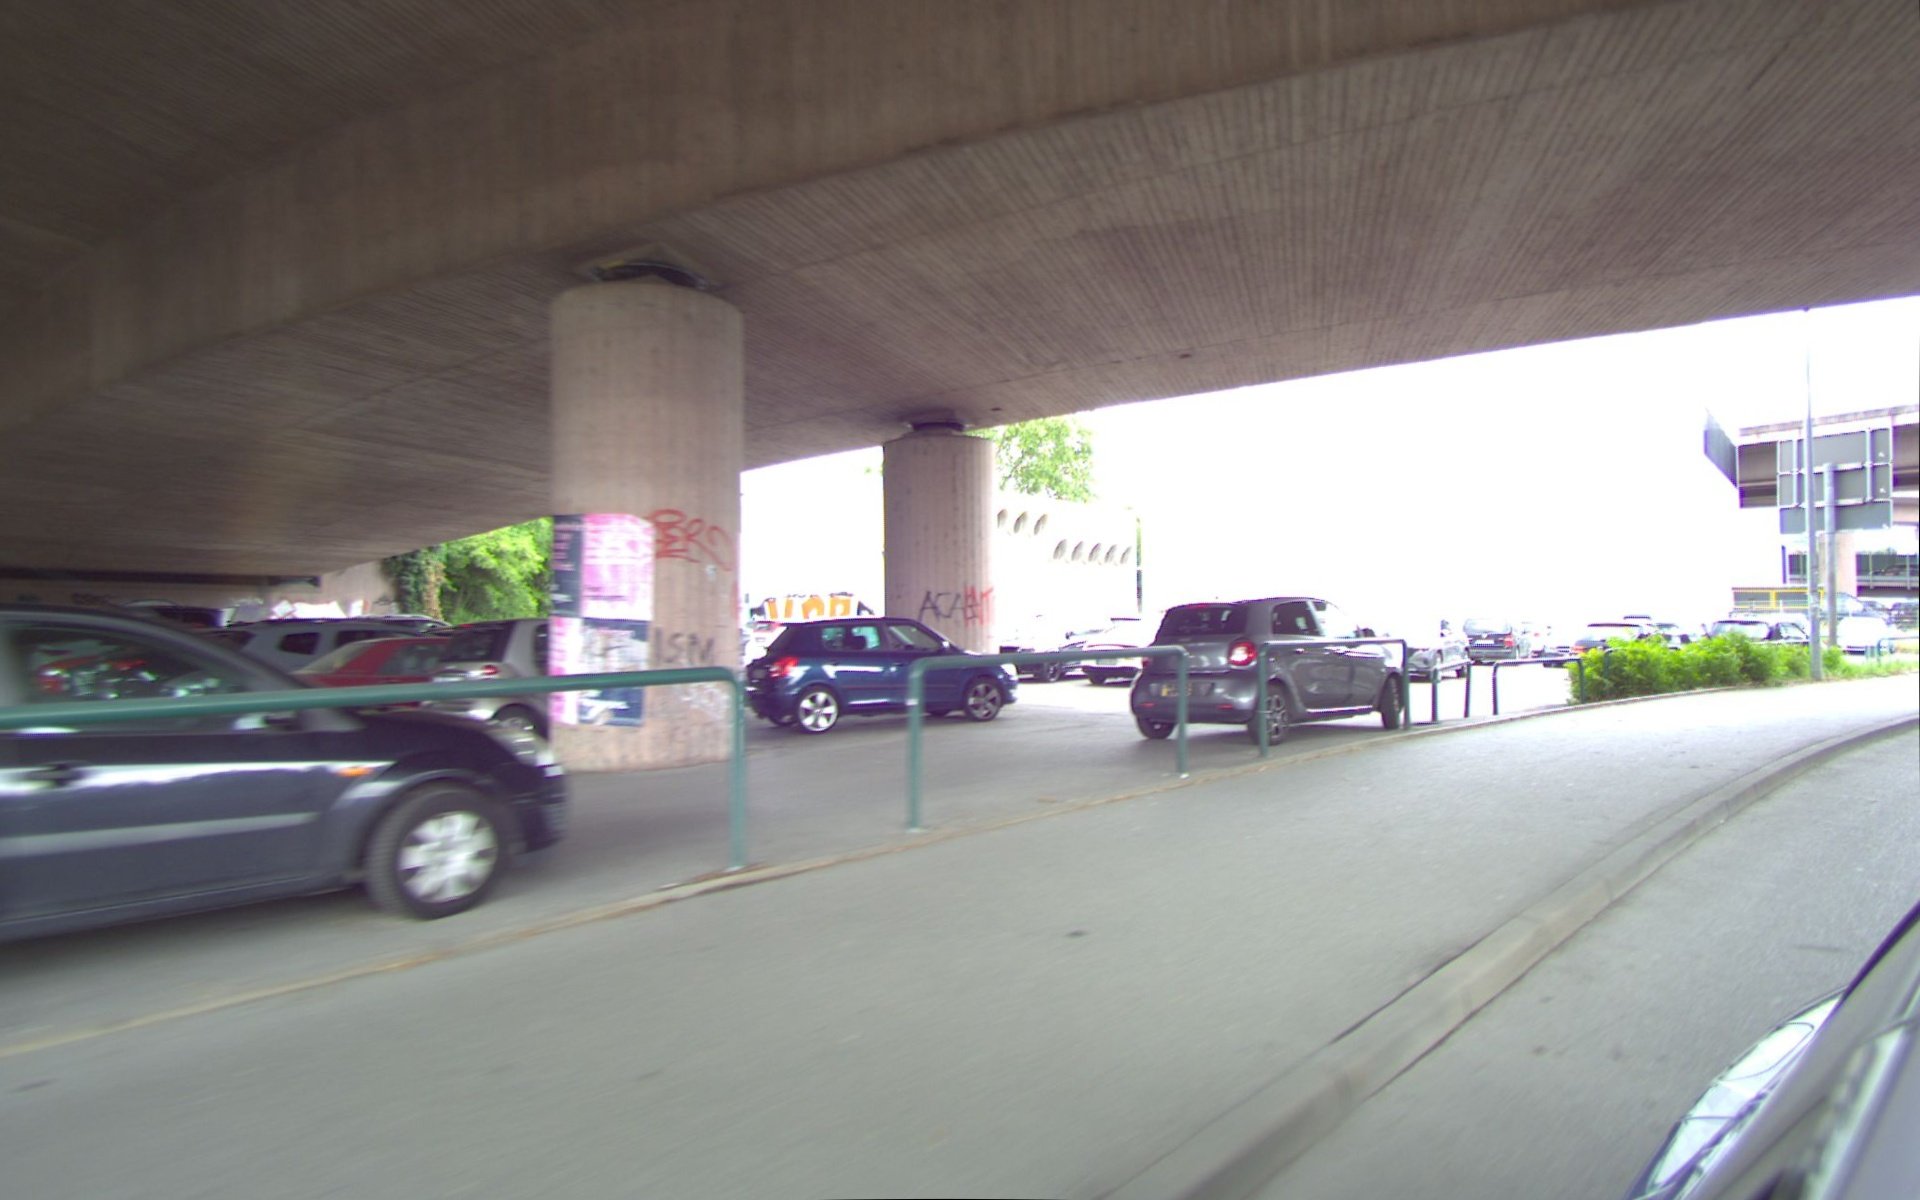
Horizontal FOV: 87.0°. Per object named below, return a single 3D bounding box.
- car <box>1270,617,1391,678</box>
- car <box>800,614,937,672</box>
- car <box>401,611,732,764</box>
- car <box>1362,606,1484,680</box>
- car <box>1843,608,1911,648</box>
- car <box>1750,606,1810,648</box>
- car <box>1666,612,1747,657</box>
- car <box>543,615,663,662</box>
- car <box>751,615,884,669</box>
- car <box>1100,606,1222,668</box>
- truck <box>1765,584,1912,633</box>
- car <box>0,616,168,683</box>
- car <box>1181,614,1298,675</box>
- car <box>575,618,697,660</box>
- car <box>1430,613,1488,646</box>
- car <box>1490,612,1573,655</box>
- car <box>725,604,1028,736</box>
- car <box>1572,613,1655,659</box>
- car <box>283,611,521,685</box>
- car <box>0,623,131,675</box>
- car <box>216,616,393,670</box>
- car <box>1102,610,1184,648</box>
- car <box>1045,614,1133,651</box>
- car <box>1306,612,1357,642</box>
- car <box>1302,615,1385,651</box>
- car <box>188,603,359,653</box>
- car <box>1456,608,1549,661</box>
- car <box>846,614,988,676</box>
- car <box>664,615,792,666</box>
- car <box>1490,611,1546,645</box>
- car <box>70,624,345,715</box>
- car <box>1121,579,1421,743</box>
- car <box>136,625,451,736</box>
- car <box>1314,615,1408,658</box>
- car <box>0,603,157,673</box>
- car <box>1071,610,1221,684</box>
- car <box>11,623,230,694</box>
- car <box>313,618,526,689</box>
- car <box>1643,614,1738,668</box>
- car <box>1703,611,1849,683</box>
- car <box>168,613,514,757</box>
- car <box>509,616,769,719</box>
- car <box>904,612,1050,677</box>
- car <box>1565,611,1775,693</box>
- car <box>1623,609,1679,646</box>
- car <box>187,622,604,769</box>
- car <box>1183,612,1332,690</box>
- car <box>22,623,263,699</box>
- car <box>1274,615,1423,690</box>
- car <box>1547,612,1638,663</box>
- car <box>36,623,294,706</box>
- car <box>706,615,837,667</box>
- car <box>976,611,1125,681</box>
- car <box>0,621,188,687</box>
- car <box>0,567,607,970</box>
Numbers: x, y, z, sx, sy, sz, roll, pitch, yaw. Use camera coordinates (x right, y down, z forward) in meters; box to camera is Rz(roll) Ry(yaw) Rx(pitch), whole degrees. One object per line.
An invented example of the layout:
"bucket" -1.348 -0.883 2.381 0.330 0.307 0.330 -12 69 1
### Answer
"car" 10.119 1.218 27.464 1.748 1.467 4.395 -1 -1 39
"car" -2.717 1.261 30.861 1.829 1.613 4.132 -1 -1 39
"car" -4.523 0.928 11.951 1.522 1.519 3.326 -4 -3 39
"car" 11.749 1.018 25.554 1.737 1.696 4.406 -1 -1 39
"car" 36.378 1.084 40.122 1.770 1.475 4.481 -1 -1 45
"car" 34.077 1.078 42.009 1.768 1.608 4.295 -1 -1 41
"car" 25.769 1.144 34.887 1.832 1.444 4.374 -1 -1 42
"car" -13.992 1.460 39.813 1.829 1.710 4.132 -1 -1 39
"car" -4.505 1.290 32.484 1.829 1.613 4.132 -1 -1 39
"car" 6.106 1.060 30.408 1.748 1.713 4.369 -1 -1 39
"truck" 56.493 0.567 65.177 3.000 2.970 6.911 1 -2 -44
"car" -22.985 1.229 26.211 1.671 1.619 3.610 -1 -1 39
"car" 8.020 1.213 28.836 1.748 1.577 4.029 -1 -1 39
"car" -12.195 1.431 38.287 1.829 1.427 4.132 -1 -1 39
"car" 24.262 1.379 49.139 1.765 1.475 4.303 -1 -1 37
"car" 21.745 1.230 38.431 1.832 1.533 4.432 -1 -1 42
"car" -1.155 0.897 14.137 3.781 1.526 1.793 -2 -1 -27
"car" 23.617 1.254 36.503 1.832 1.533 4.432 -1 -1 42
"car" -14.337 1.160 26.271 2.081 1.699 5.033 -1 -1 39
"car" -26.713 1.415 29.558 1.671 1.407 3.610 -1 -1 39
"car" -19.581 1.230 30.367 1.829 1.484 4.132 -1 -1 39
"car" 7.830 1.213 43.124 1.761 1.552 3.918 -1 -1 40
"car" 5.742 1.400 44.550 1.761 1.552 4.423 -1 -1 40
"car" 19.799 1.397 53.842 1.488 1.478 4.010 -1 -1 37
"car" 16.272 1.365 42.847 1.832 1.444 4.374 -1 -1 42
"car" -21.467 0.837 31.772 1.829 1.484 4.132 -1 -1 39
"car" 18.251 1.102 33.947 1.849 1.649 4.553 -1 -1 40
"car" -1.167 1.238 29.243 1.829 1.613 4.132 -1 -1 39
"car" -8.023 1.358 35.320 1.829 1.613 4.132 -1 -1 39
"car" 26.177 1.273 47.413 1.765 1.475 4.303 -1 -1 37
"car" -13.893 1.195 18.849 1.829 1.445 3.807 -1 -1 39
"car" 3.540 0.618 11.308 3.350 1.553 1.608 0 -3 -40
"car" -10.371 1.157 15.961 1.829 1.445 3.807 -1 -1 39
"car" 14.643 1.287 36.814 1.849 1.462 4.553 -1 -1 40
"car" -24.701 1.007 27.981 1.874 1.811 3.610 -1 -1 39
"car" 4.578 1.074 24.554 1.829 1.613 4.132 -1 -1 39
"car" -18.998 1.259 23.018 1.671 1.445 3.610 -1 -1 39
"car" -12.807 1.206 24.172 1.829 1.484 4.132 -1 -1 39
"car" 22.325 1.196 30.869 1.851 1.494 4.615 -1 -1 42
"car" 18.309 1.020 22.709 2.704 1.498 1.546 0 -1 -27
"car" -8.617 1.063 14.340 1.829 1.720 3.807 -1 -1 39
"car" -5.611 1.098 18.089 1.829 1.570 4.132 -1 -1 39
"car" 0.543 1.143 27.591 1.829 1.613 4.132 -1 -1 39
"car" 14.598 0.999 20.783 4.162 1.498 1.738 0 -1 -27
"car" 30.581 1.177 44.772 1.617 1.564 3.050 -1 -1 43
"car" -7.007 1.074 12.898 1.832 1.489 4.311 -3 -2 43
"car" 6.925 1.098 23.307 1.829 1.613 4.132 -1 -1 39
"car" -17.497 1.237 21.799 1.671 1.445 3.807 -1 -1 39
"car" 8.528 1.071 22.013 1.829 1.439 4.132 -1 -1 39
"car" 20.316 1.142 32.423 1.849 1.494 4.619 -1 -1 40
"car" -15.947 1.212 20.449 1.829 1.445 3.807 -1 -1 39
"car" -6.248 1.320 33.821 1.829 1.613 4.132 -1 -1 39
"car" 2.398 1.112 25.998 1.829 1.613 4.132 -1 -1 39
"car" -21.154 1.258 24.517 1.671 1.445 3.610 -1 -1 39
"car" -3.593 0.627 4.463 3.516 1.415 1.608 0 -3 -40
